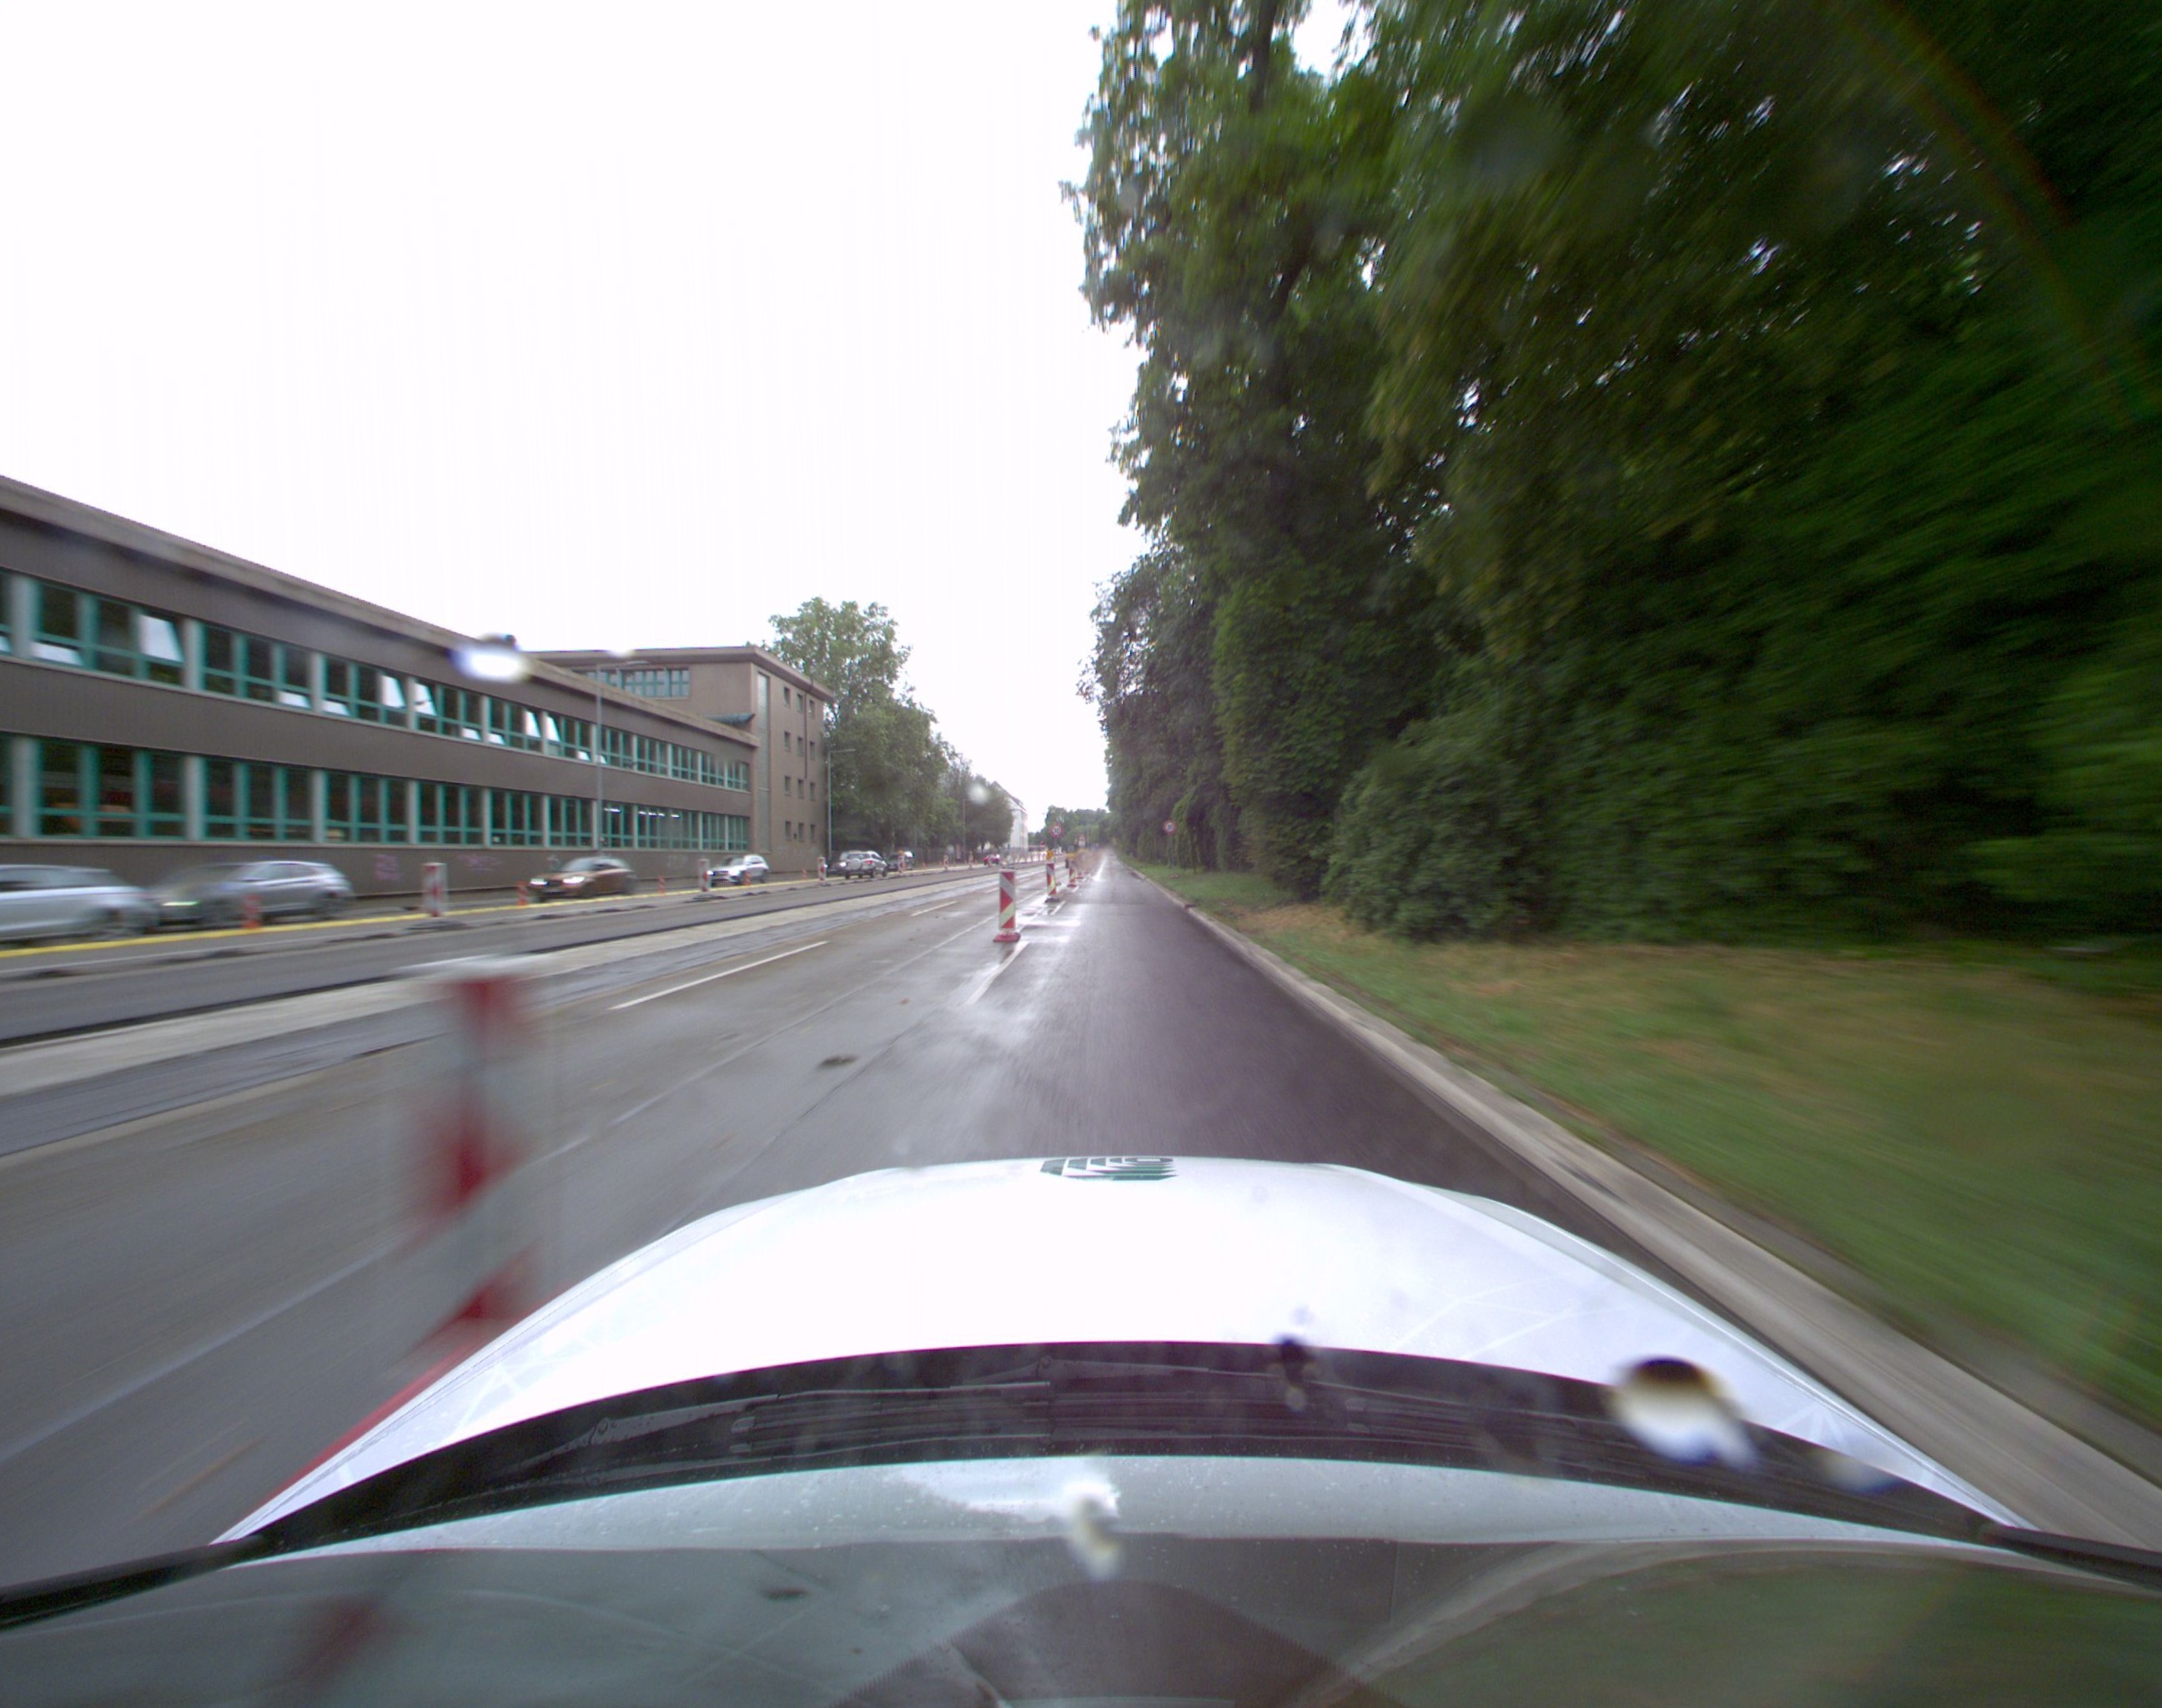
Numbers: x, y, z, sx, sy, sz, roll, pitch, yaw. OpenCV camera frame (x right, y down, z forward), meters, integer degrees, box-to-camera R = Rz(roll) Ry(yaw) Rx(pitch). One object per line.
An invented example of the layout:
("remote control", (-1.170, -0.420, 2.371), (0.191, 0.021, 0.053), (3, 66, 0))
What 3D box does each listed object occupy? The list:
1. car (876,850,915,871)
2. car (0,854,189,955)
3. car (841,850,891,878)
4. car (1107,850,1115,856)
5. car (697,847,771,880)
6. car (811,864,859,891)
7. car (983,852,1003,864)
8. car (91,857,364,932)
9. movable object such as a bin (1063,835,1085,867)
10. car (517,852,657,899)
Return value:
("car", (-15.995, 0.577, 70.466), (1.985, 1.780, 4.959), (0, 0, 4))
("car", (-17.296, 0.763, 12.919), (1.797, 1.534, 3.993), (0, 0, 2))
("car", (-12.984, 0.597, 49.445), (1.847, 1.648, 4.002), (0, 0, 2))
("car", (7.998, -0.181, 215.366), (1.986, 1.673, 4.002), (0, 0, 2))
("car", (-19.170, 0.514, 45.222), (1.931, 1.706, 4.936), (0, 0, 1))
("car", (-18.847, 1.753, 62.644), (1.987, 1.919, 5.364), (0, 0, 1))
("car", (-11.194, 0.560, 103.805), (1.986, 1.519, 4.001), (0, 0, 2))
("car", (-19.961, 0.876, 19.370), (1.986, 1.586, 4.180), (0, 0, 2))
("movable object such as a bin", (-0.713, -0.291, 86.689), (1.986, 3.367, 5.985), (0, 0, 2))
("car", (-16.873, 0.684, 28.142), (1.886, 1.502, 4.520), (0, 0, 3))
